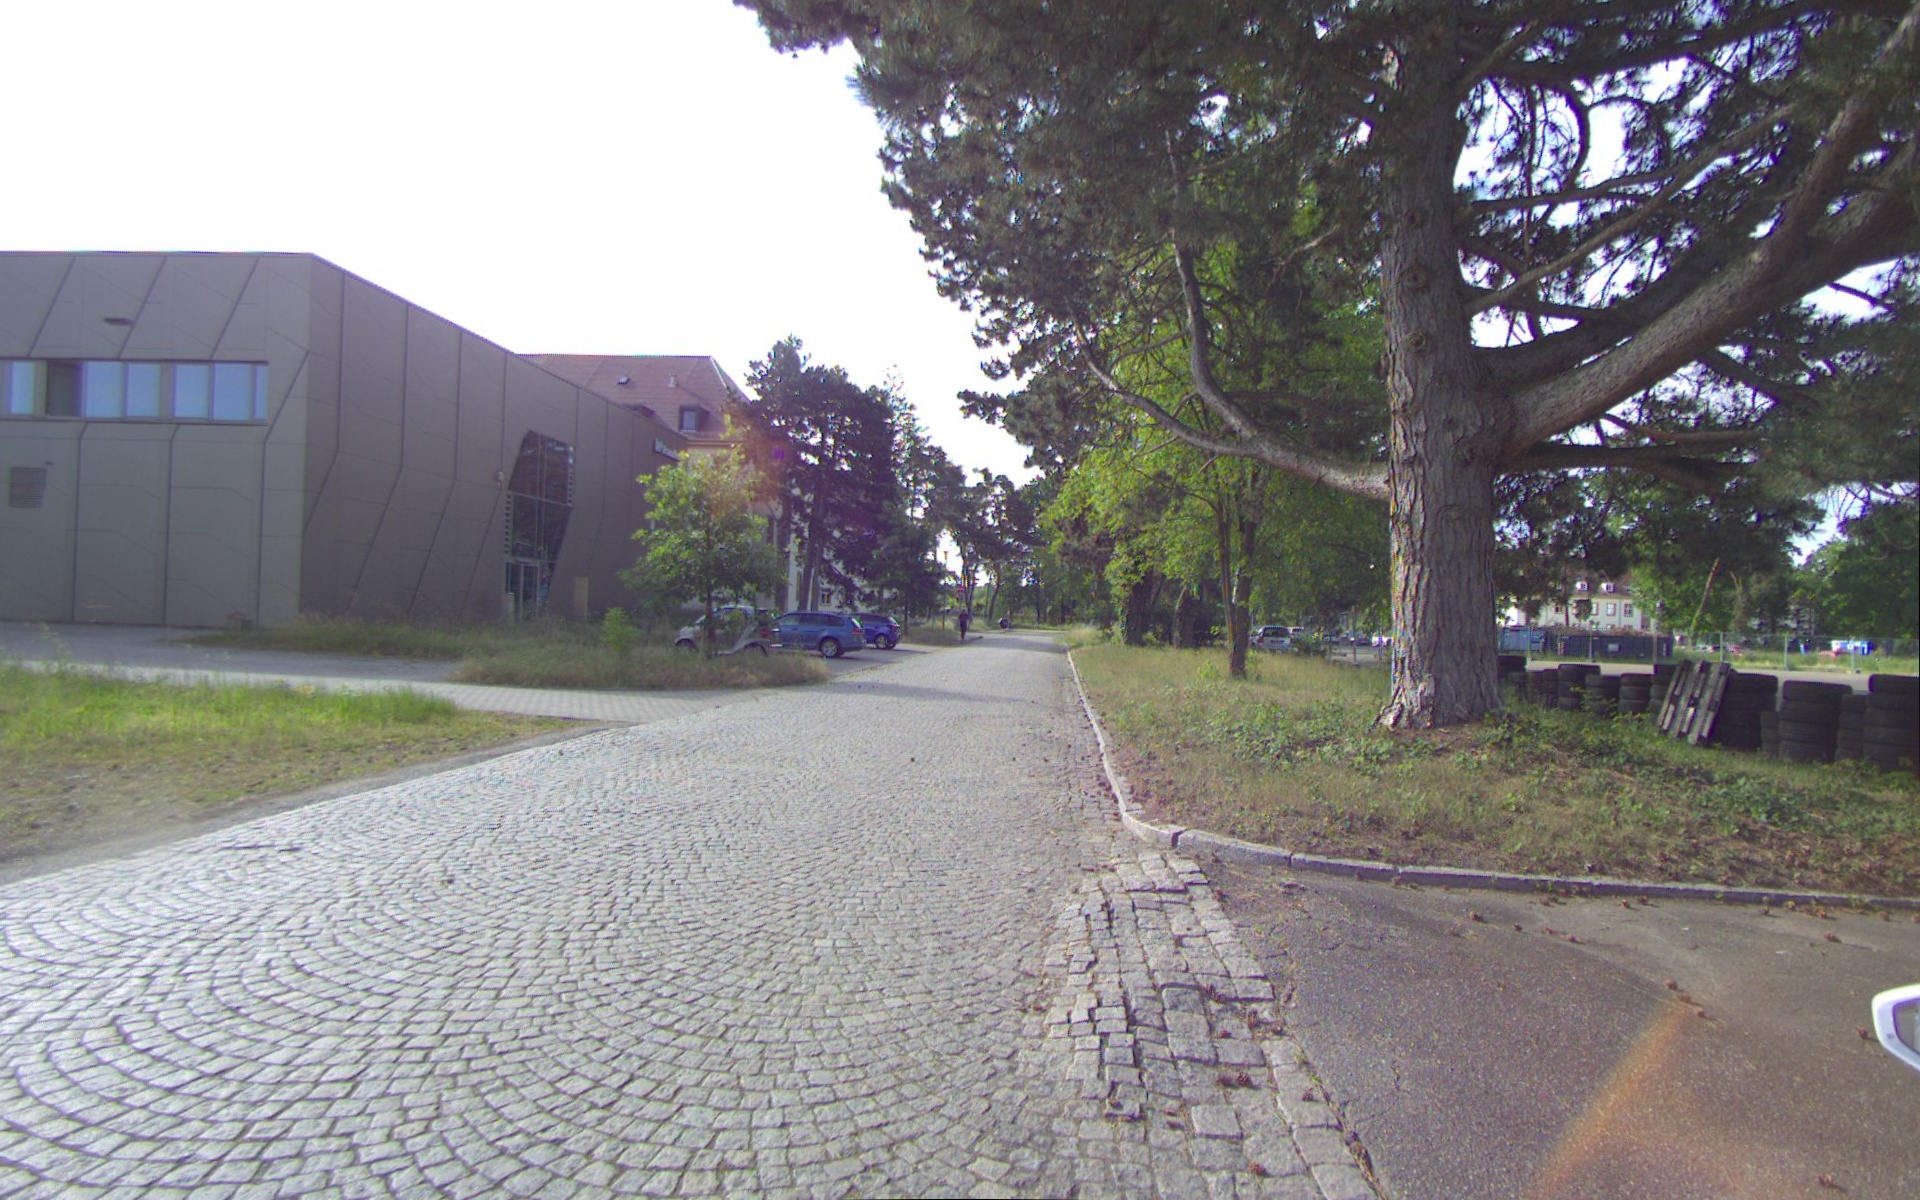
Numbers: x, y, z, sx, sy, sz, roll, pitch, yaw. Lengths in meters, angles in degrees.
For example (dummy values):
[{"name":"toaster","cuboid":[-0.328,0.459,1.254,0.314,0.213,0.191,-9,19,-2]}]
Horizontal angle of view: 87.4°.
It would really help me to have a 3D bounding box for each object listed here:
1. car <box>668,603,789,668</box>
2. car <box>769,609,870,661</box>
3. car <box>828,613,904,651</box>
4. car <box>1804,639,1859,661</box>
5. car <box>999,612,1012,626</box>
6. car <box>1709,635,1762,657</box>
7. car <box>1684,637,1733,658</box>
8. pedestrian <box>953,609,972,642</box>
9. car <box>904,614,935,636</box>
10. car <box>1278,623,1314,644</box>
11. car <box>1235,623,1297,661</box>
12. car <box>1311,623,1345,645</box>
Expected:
[{"name":"car","cuboid":[-6.045,0.908,26.345,2.713,1.570,1.426,2,-1,10]},{"name":"car","cuboid":[-4.664,1.151,33.572,3.033,1.476,1.492,4,-1,1]},{"name":"car","cuboid":[-3.990,1.359,42.968,3.033,1.469,1.492,2,-1,0]},{"name":"car","cuboid":[77.304,4.447,89.133,1.959,1.773,4.003,2,-1,12]},{"name":"car","cuboid":[6.753,2.807,148.651,1.669,2.040,4.002,2,-1,6]},{"name":"car","cuboid":[69.823,4.151,90.510,1.959,1.773,4.003,2,-1,8]},{"name":"car","cuboid":[67.290,4.244,90.358,1.959,1.773,4.003,2,-1,11]},{"name":"pedestrian","cuboid":[0.148,1.502,59.017,0.941,1.868,0.954,2,-1,-8]},{"name":"car","cuboid":[-3.299,2.044,82.156,1.960,1.639,4.002,2,-1,6]},{"name":"car","cuboid":[27.550,2.705,82.525,1.960,1.639,4.002,2,-1,6]},{"name":"car","cuboid":[14.025,1.895,46.215,1.854,1.561,4.002,2,-1,4]},{"name":"car","cuboid":[30.213,2.783,82.517,1.790,1.639,4.003,2,-1,8]}]
